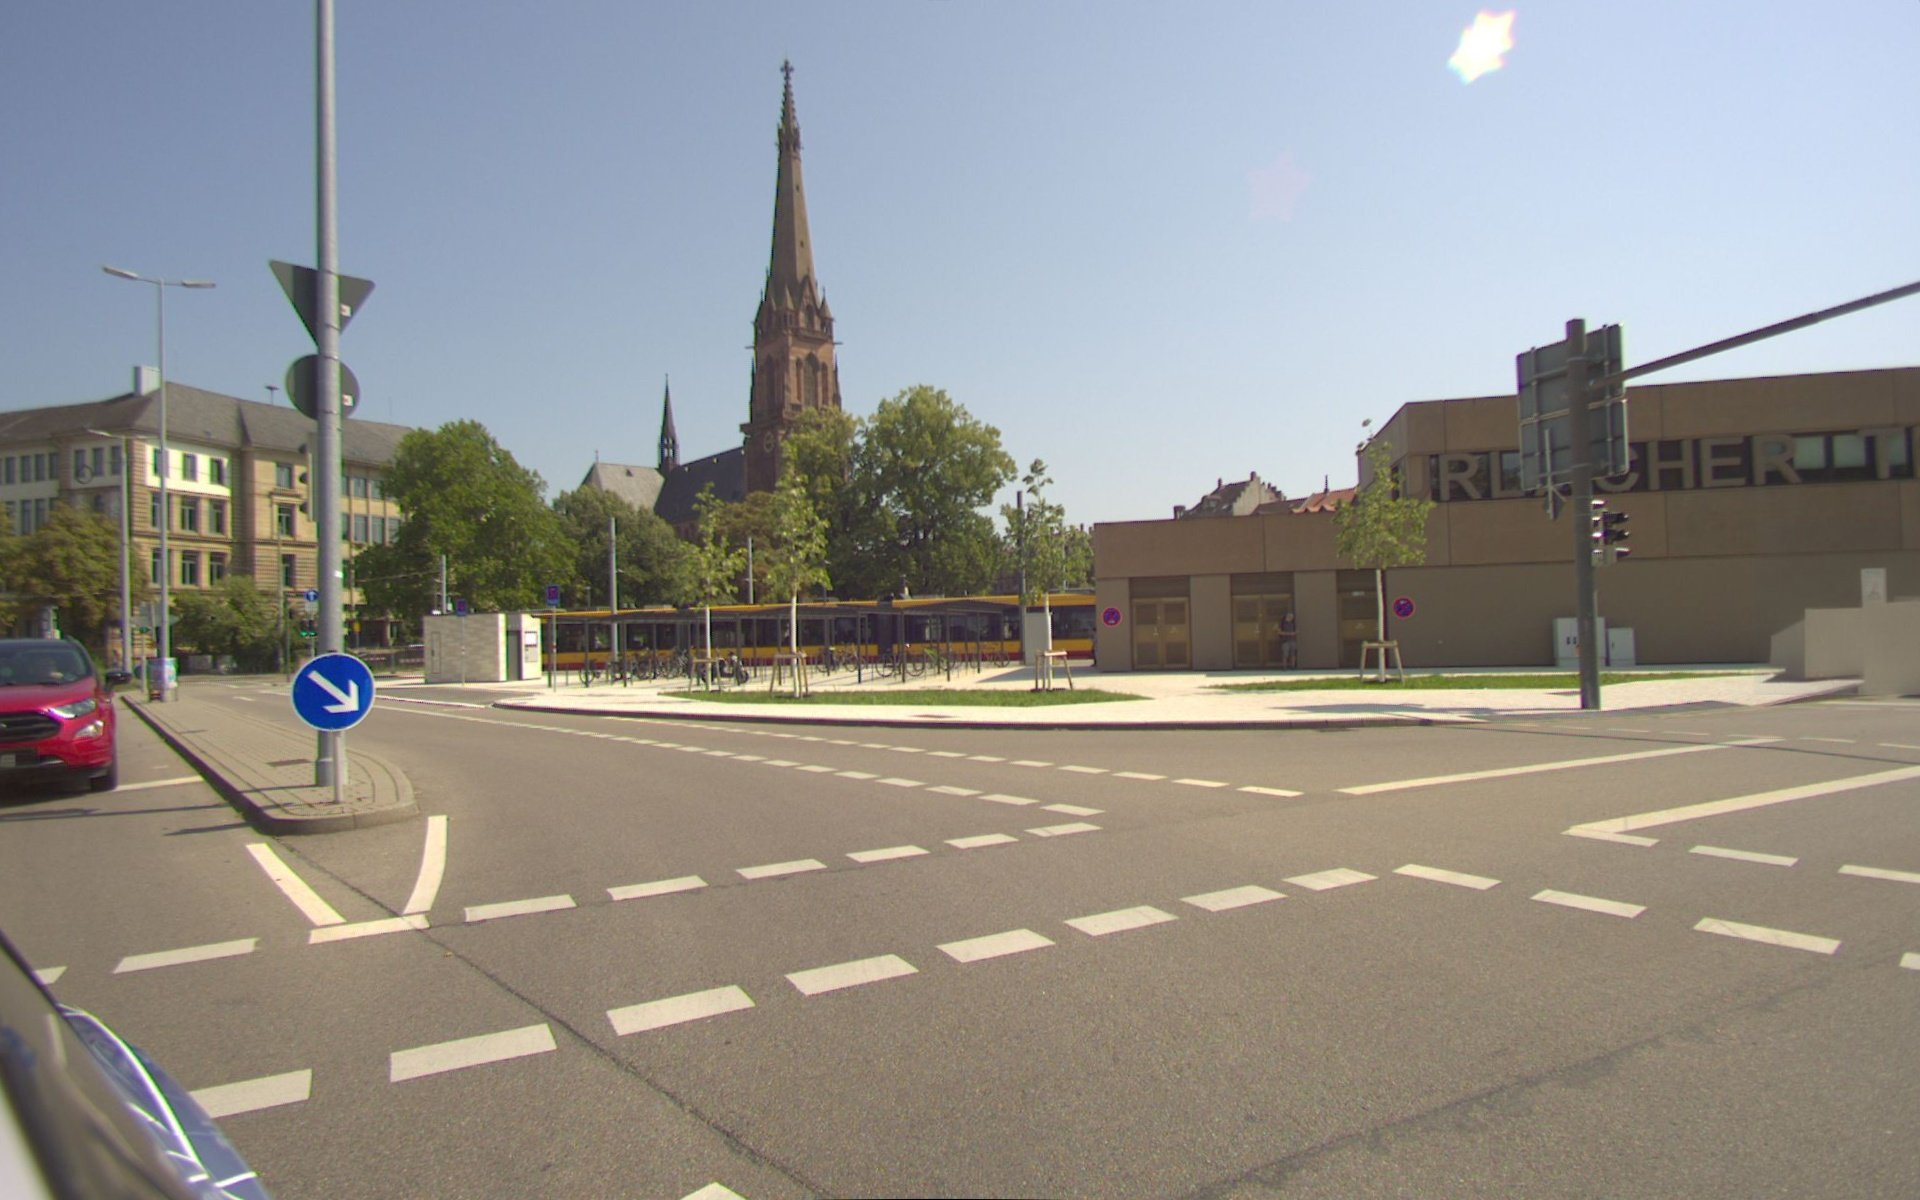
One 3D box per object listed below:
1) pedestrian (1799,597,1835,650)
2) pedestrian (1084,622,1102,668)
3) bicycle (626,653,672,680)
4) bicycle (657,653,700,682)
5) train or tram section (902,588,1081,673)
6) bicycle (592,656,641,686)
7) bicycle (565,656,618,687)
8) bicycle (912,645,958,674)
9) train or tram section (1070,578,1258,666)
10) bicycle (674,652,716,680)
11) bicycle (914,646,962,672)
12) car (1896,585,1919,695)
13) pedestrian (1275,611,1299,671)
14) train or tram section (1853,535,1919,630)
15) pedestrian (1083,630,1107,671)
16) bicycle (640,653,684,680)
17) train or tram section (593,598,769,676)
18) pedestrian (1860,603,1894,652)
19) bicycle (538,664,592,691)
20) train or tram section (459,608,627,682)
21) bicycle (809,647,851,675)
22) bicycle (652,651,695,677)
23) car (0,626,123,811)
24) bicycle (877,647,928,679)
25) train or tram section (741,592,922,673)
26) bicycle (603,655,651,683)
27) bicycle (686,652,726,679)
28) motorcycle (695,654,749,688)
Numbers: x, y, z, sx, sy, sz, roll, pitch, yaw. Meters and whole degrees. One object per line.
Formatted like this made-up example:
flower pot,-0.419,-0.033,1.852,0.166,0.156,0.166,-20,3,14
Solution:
pedestrian,29.328,0.797,34.646,0.543,1.777,0.697,-1,-2,0
pedestrian,4.965,1.685,37.886,0.563,1.691,0.442,-2,-2,13
bicycle,-12.496,2.679,40.693,1.754,1.048,0.524,-3,-3,16
bicycle,-10.863,2.594,39.000,1.626,1.048,0.411,-3,-3,16
train or tram section,1.568,1.556,49.253,8.165,3.625,3.147,-3,-3,14
bicycle,-13.026,2.696,38.351,1.754,1.048,0.524,-3,-3,16
bicycle,-13.554,2.630,37.218,1.848,1.090,0.524,-3,-3,16
bicycle,-0.949,2.274,38.818,1.711,1.048,0.513,-2,-3,1
train or tram section,9.468,1.111,47.317,8.163,3.597,3.131,-3,-4,13
bicycle,-10.437,2.588,39.865,1.626,1.048,0.411,-3,-3,16
bicycle,-0.864,2.361,40.386,1.838,0.993,0.511,-2,-3,12
car,18.587,0.590,17.409,4.259,1.874,2.006,-1,-4,-25
pedestrian,9.331,1.171,28.872,0.530,1.691,0.566,-2,-2,13
train or tram section,41.039,-0.856,39.703,8.163,3.597,3.131,-3,-4,13
pedestrian,4.792,1.795,36.025,0.437,1.421,0.669,0,-3,-43
bicycle,-12.371,2.750,41.970,1.754,1.048,0.524,-3,-3,16
train or tram section,-14.647,1.993,53.298,8.443,3.625,3.147,-3,-3,14
pedestrian,29.382,0.876,32.438,0.566,1.550,0.489,-2,-2,13
bicycle,-13.977,2.727,35.804,1.882,0.890,0.489,-3,-3,17
train or tram section,-22.745,2.482,55.300,8.246,3.588,3.124,-3,-4,14
bicycle,-5.159,2.430,40.094,1.626,1.048,0.411,-3,-3,16
bicycle,-12.214,2.726,43.123,1.754,1.048,0.524,-3,-3,16
car,-9.957,1.180,10.493,1.817,1.627,4.005,-1,-2,-42
bicycle,-2.014,2.213,35.532,1.714,1.048,0.512,-2,-3,7
train or tram section,-6.469,1.709,51.256,8.443,3.625,3.147,-3,-3,14
bicycle,-12.847,2.663,39.032,1.754,1.048,0.524,-3,-3,16
bicycle,-10.413,2.676,41.484,1.626,1.048,0.411,-3,-3,16
motorcycle,-8.141,2.425,34.607,1.764,1.077,0.489,-3,-3,17
